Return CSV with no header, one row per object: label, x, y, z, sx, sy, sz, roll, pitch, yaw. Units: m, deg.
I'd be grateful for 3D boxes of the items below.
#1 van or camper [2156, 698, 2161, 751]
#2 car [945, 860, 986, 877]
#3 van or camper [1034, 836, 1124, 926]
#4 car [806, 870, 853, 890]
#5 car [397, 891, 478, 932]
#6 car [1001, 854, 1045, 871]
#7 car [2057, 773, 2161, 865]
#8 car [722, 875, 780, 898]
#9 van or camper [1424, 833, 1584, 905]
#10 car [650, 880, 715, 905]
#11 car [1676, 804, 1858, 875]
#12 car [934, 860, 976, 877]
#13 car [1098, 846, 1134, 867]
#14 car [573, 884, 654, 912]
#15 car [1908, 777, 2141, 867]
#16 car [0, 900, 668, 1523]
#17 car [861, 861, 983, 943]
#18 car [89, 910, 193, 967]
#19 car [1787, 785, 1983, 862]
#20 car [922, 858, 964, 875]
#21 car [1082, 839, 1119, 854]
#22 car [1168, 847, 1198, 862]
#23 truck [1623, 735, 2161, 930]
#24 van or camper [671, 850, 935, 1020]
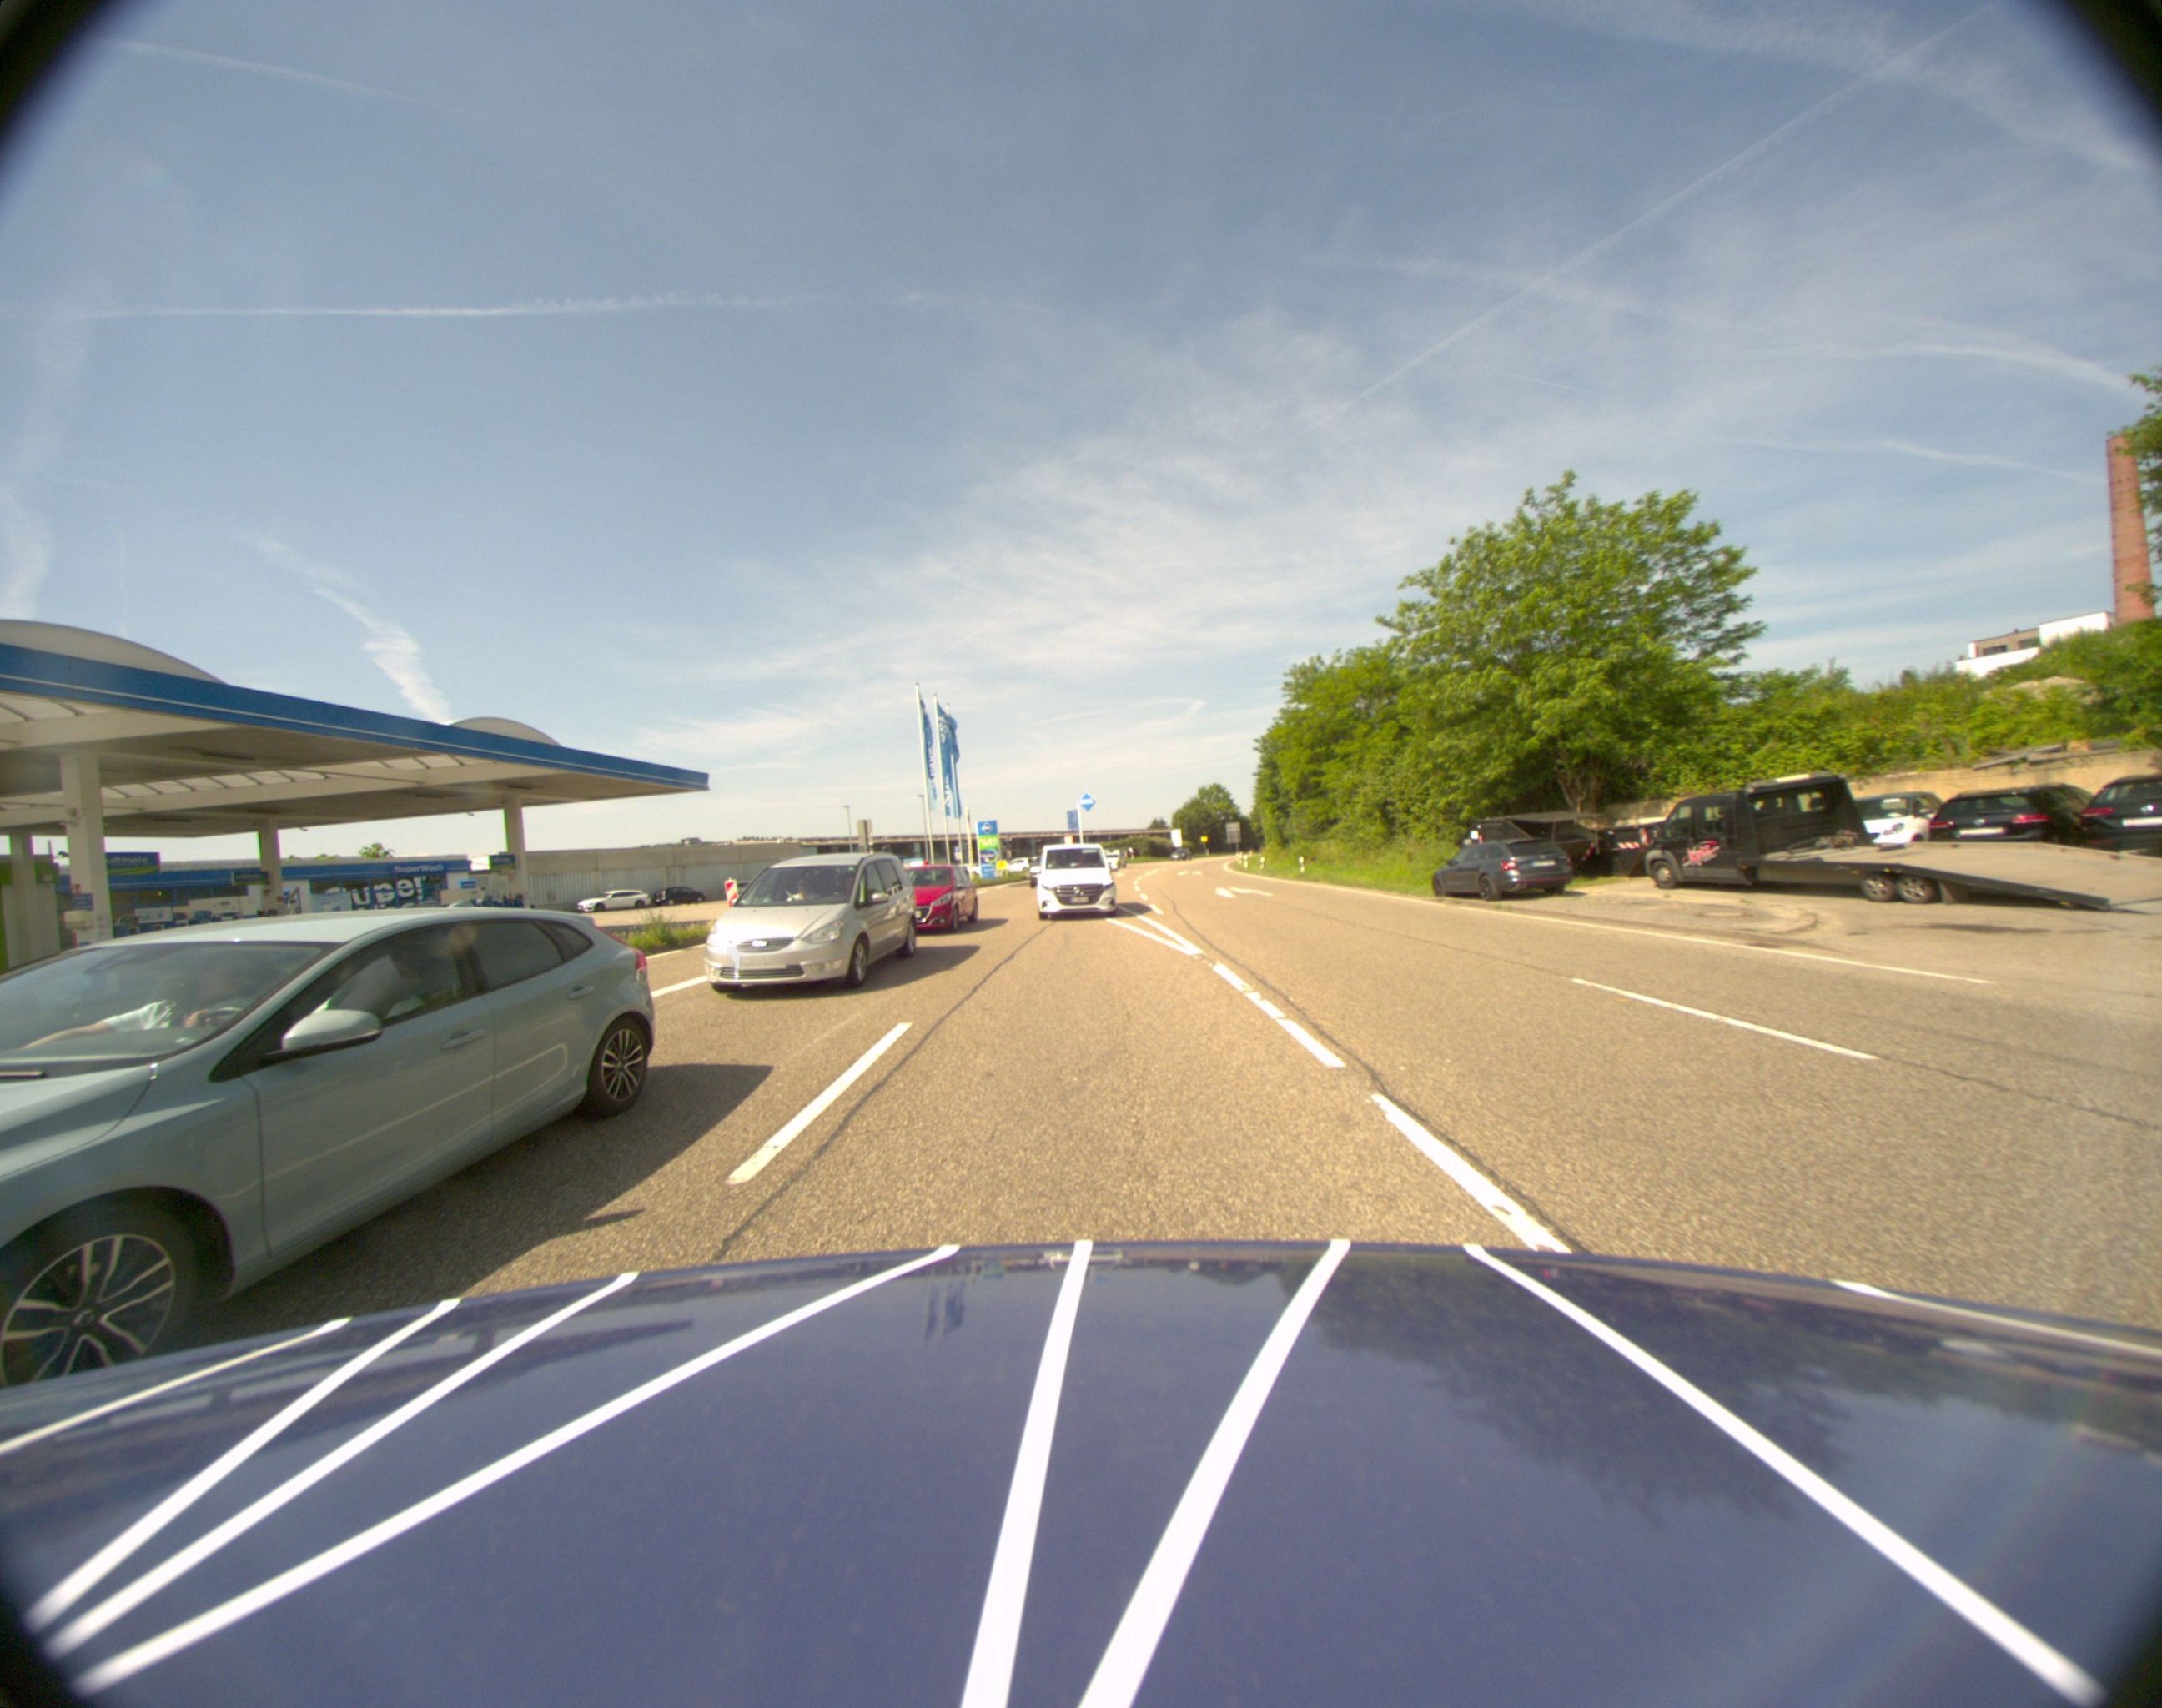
van or camper,13.326,-0.686,5.857,2.158,2.484,5.954,-7,0,11
car,-13.252,1.657,87.100,4.454,1.628,1.826,-4,-1,32
van or camper,-0.181,0.620,20.458,1.999,2.002,5.288,-3,1,-3
car,-23.130,2.393,69.884,4.011,1.595,1.893,-4,1,34
car,-32.822,2.925,38.719,4.161,1.815,1.893,-4,1,32
car,-6.243,0.929,81.527,4.248,1.628,1.825,-4,-1,27
car,18.916,-0.677,12.950,3.674,1.460,1.737,-4,0,-20
car,-28.188,2.725,64.961,1.885,1.595,4.028,-4,1,35
van or camper,10.648,0.316,19.535,1.643,1.515,4.467,-4,0,2
car,-31.330,3.002,59.873,1.885,1.595,4.028,-4,1,31
car,17.381,-0.365,19.300,3.673,1.502,1.715,-4,0,-16
car,-14.200,1.665,85.462,4.454,1.628,1.826,-4,-1,32
car,3.212,0.186,69.035,1.865,1.632,4.427,-4,0,22
car,-33.814,3.181,55.104,1.886,1.595,4.537,-4,0,28
car,18.425,-0.614,14.856,3.674,1.460,1.737,-4,0,-20
car,-3.763,1.094,3.177,1.740,1.420,4.224,-4,0,-1
car,-3.464,0.993,17.293,1.805,1.563,3.714,-2,0,2
car,-36.941,3.343,29.835,4.723,1.815,1.906,-6,1,32
car,18.418,-0.691,17.427,3.674,1.460,1.737,-4,0,-20
car,-15.228,1.421,83.826,4.454,1.628,1.826,-4,-1,32
car,2.478,-0.957,95.881,4.248,1.628,1.825,-4,-1,27
car,12.907,0.094,95.812,1.864,1.632,4.429,-4,1,33
truck,14.124,-0.378,13.821,2.336,2.283,8.803,-8,0,3
van or camper,-3.571,0.887,10.984,1.751,1.777,5.133,-4,0,1
